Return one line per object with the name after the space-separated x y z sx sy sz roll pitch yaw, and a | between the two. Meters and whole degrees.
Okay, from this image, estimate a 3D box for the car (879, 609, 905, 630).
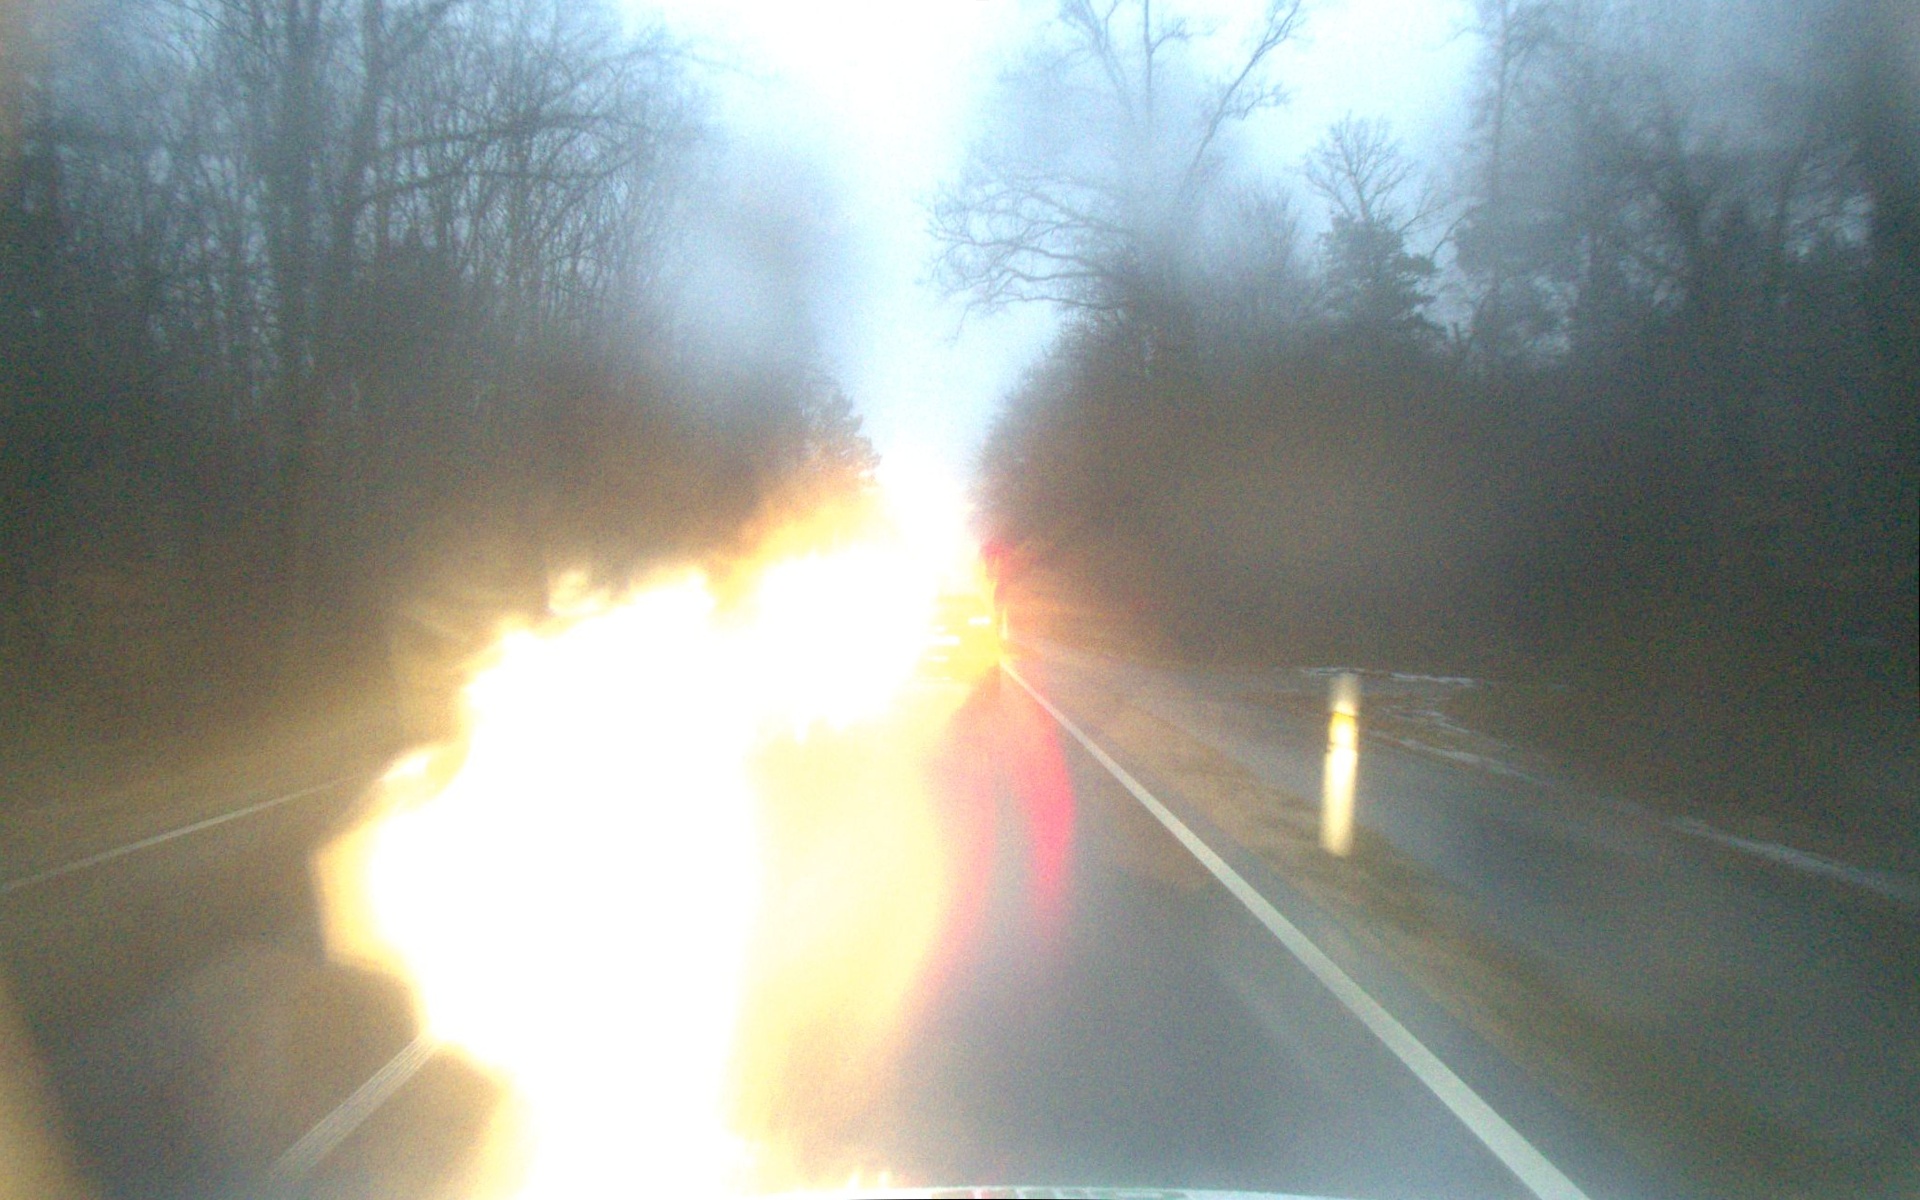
-5.566 1.613 135.491 2.033 1.644 4.150 -1 0 -2 | car

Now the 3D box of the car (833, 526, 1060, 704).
-0.185 0.220 26.286 3.118 2.428 6.636 1 0 0 | car

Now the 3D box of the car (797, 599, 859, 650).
-4.569 0.832 57.852 1.879 1.636 5.014 -1 0 -2 | car

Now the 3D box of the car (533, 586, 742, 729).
-3.594 0.577 19.083 1.657 1.445 3.999 -1 1 -1 | car

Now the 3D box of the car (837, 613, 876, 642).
-5.352 1.425 86.199 1.830 1.447 4.386 0 0 -1 | car
